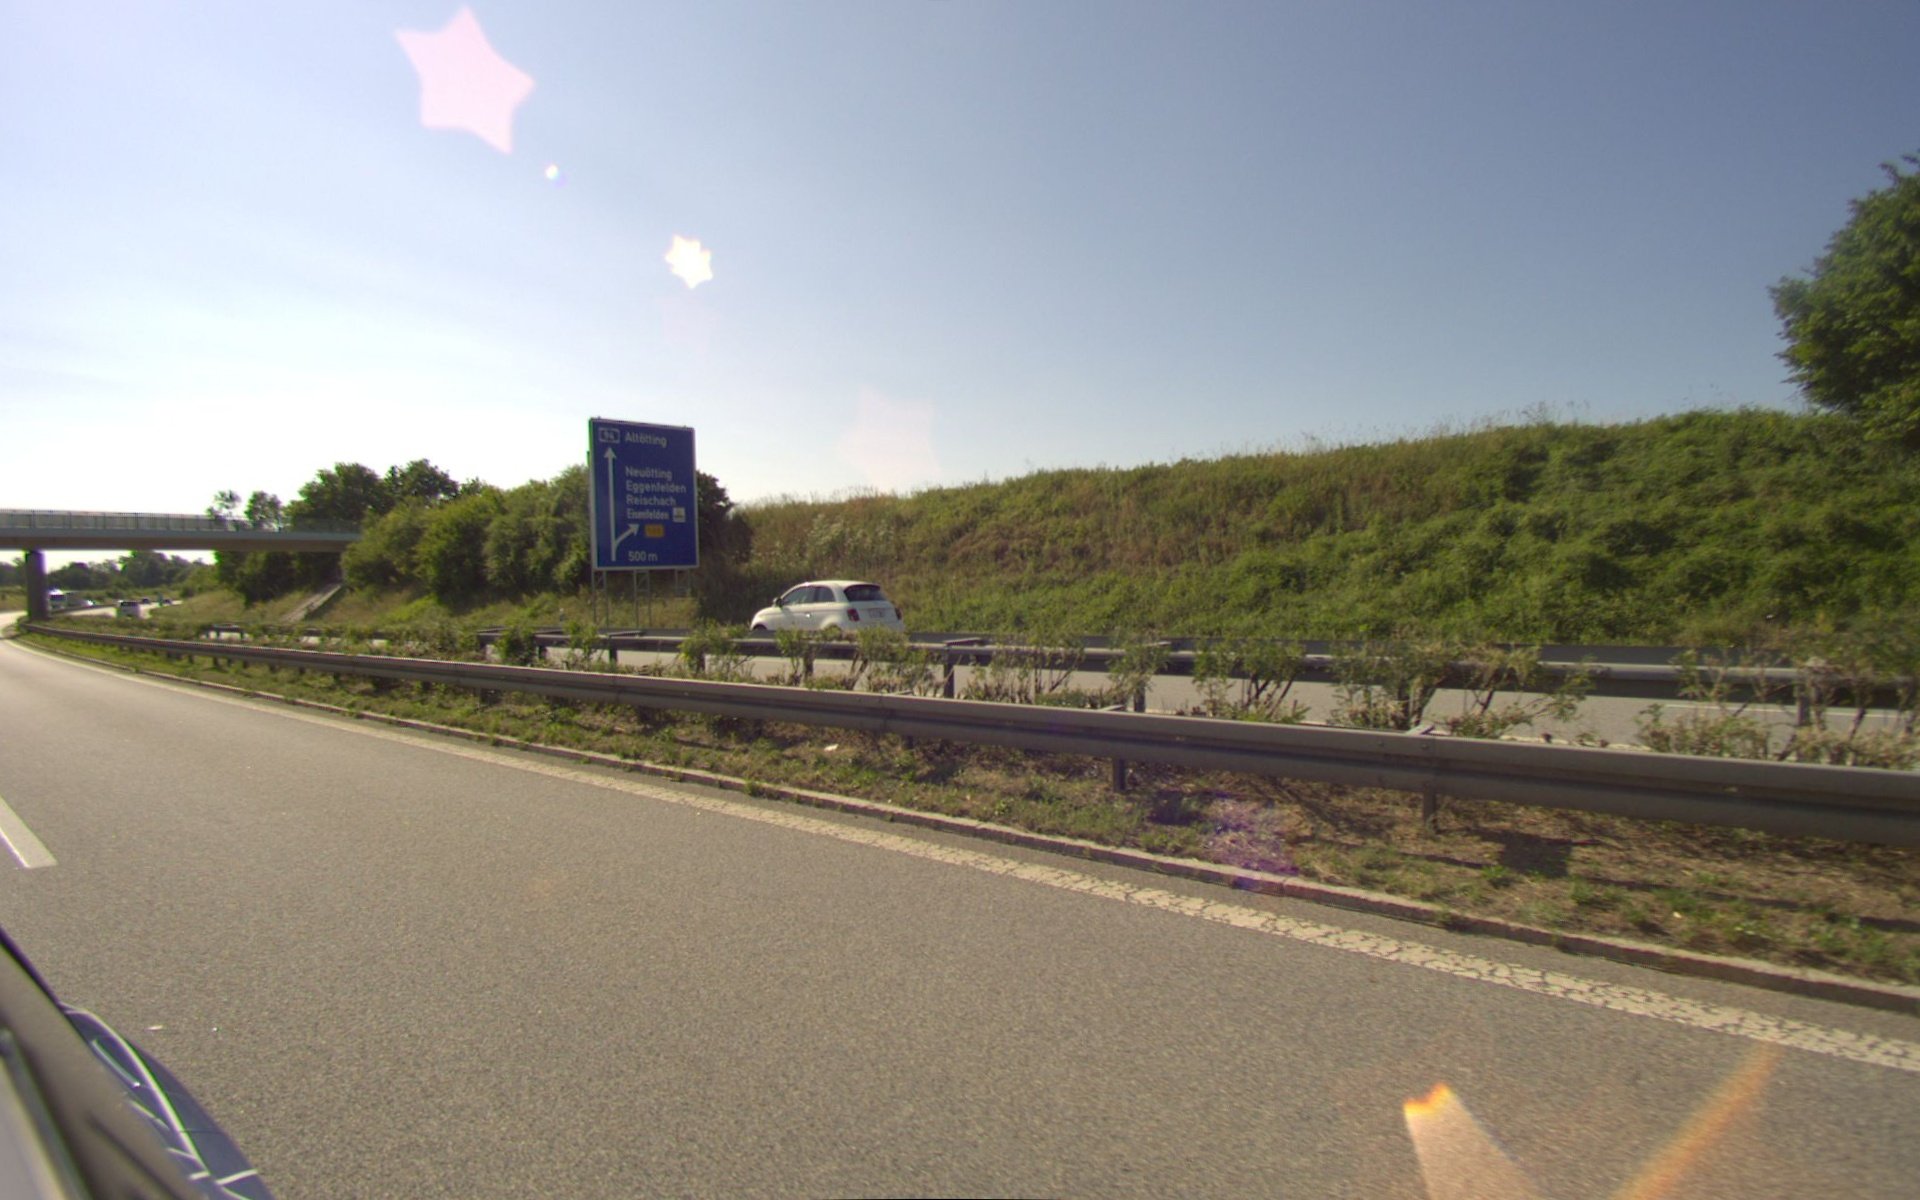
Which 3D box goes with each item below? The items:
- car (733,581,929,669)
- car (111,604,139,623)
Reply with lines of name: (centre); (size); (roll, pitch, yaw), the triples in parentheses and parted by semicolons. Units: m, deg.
car: (-2.705, 0.472, 20.690); (4.000, 1.610, 1.836); (-1, 0, 43)
car: (-86.764, 1.366, 105.150); (4.625, 1.871, 1.835); (-1, 0, 45)
